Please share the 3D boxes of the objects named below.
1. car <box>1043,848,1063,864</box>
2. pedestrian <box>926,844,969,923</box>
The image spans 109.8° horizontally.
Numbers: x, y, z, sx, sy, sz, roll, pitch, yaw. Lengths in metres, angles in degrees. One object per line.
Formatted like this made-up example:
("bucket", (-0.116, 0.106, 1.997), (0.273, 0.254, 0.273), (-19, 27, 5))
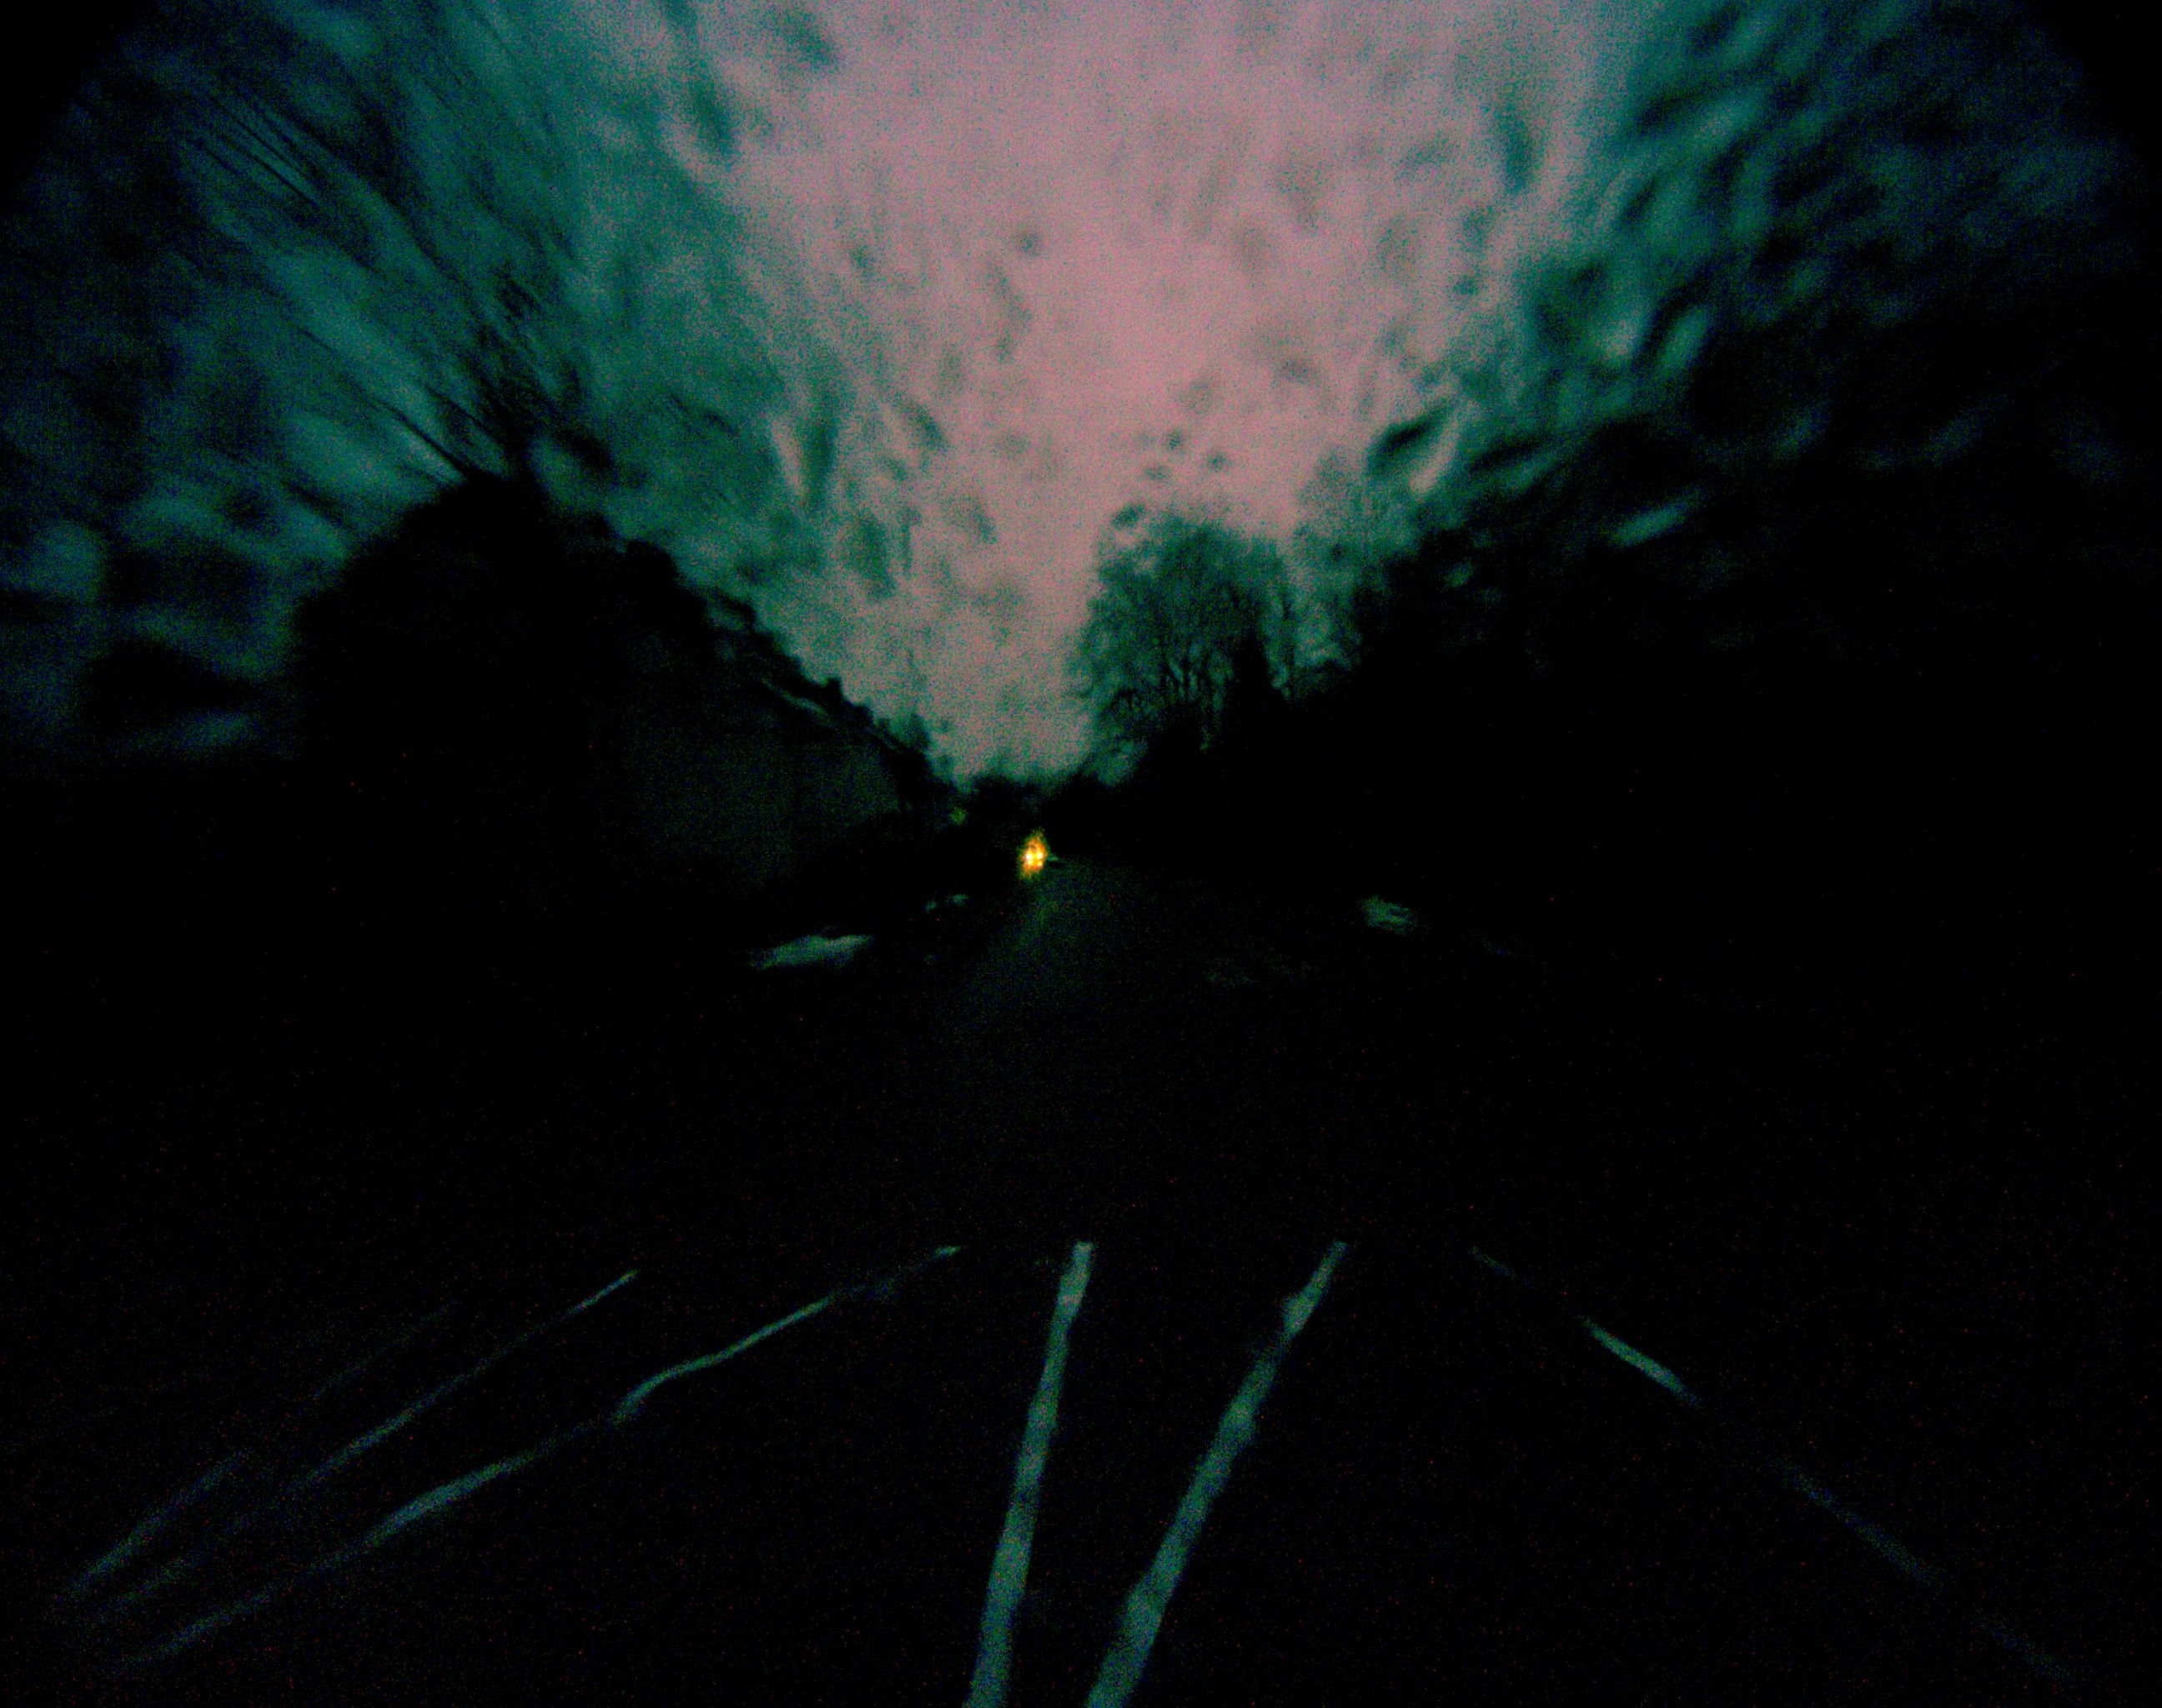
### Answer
("car", (-2.917, 0.208, 78.700), (1.709, 1.498, 4.021), (-2, 1, -6))
("pedestrian", (-2.881, 0.609, 16.464), (0.745, 1.645, 0.970), (-1, 1, -1))
